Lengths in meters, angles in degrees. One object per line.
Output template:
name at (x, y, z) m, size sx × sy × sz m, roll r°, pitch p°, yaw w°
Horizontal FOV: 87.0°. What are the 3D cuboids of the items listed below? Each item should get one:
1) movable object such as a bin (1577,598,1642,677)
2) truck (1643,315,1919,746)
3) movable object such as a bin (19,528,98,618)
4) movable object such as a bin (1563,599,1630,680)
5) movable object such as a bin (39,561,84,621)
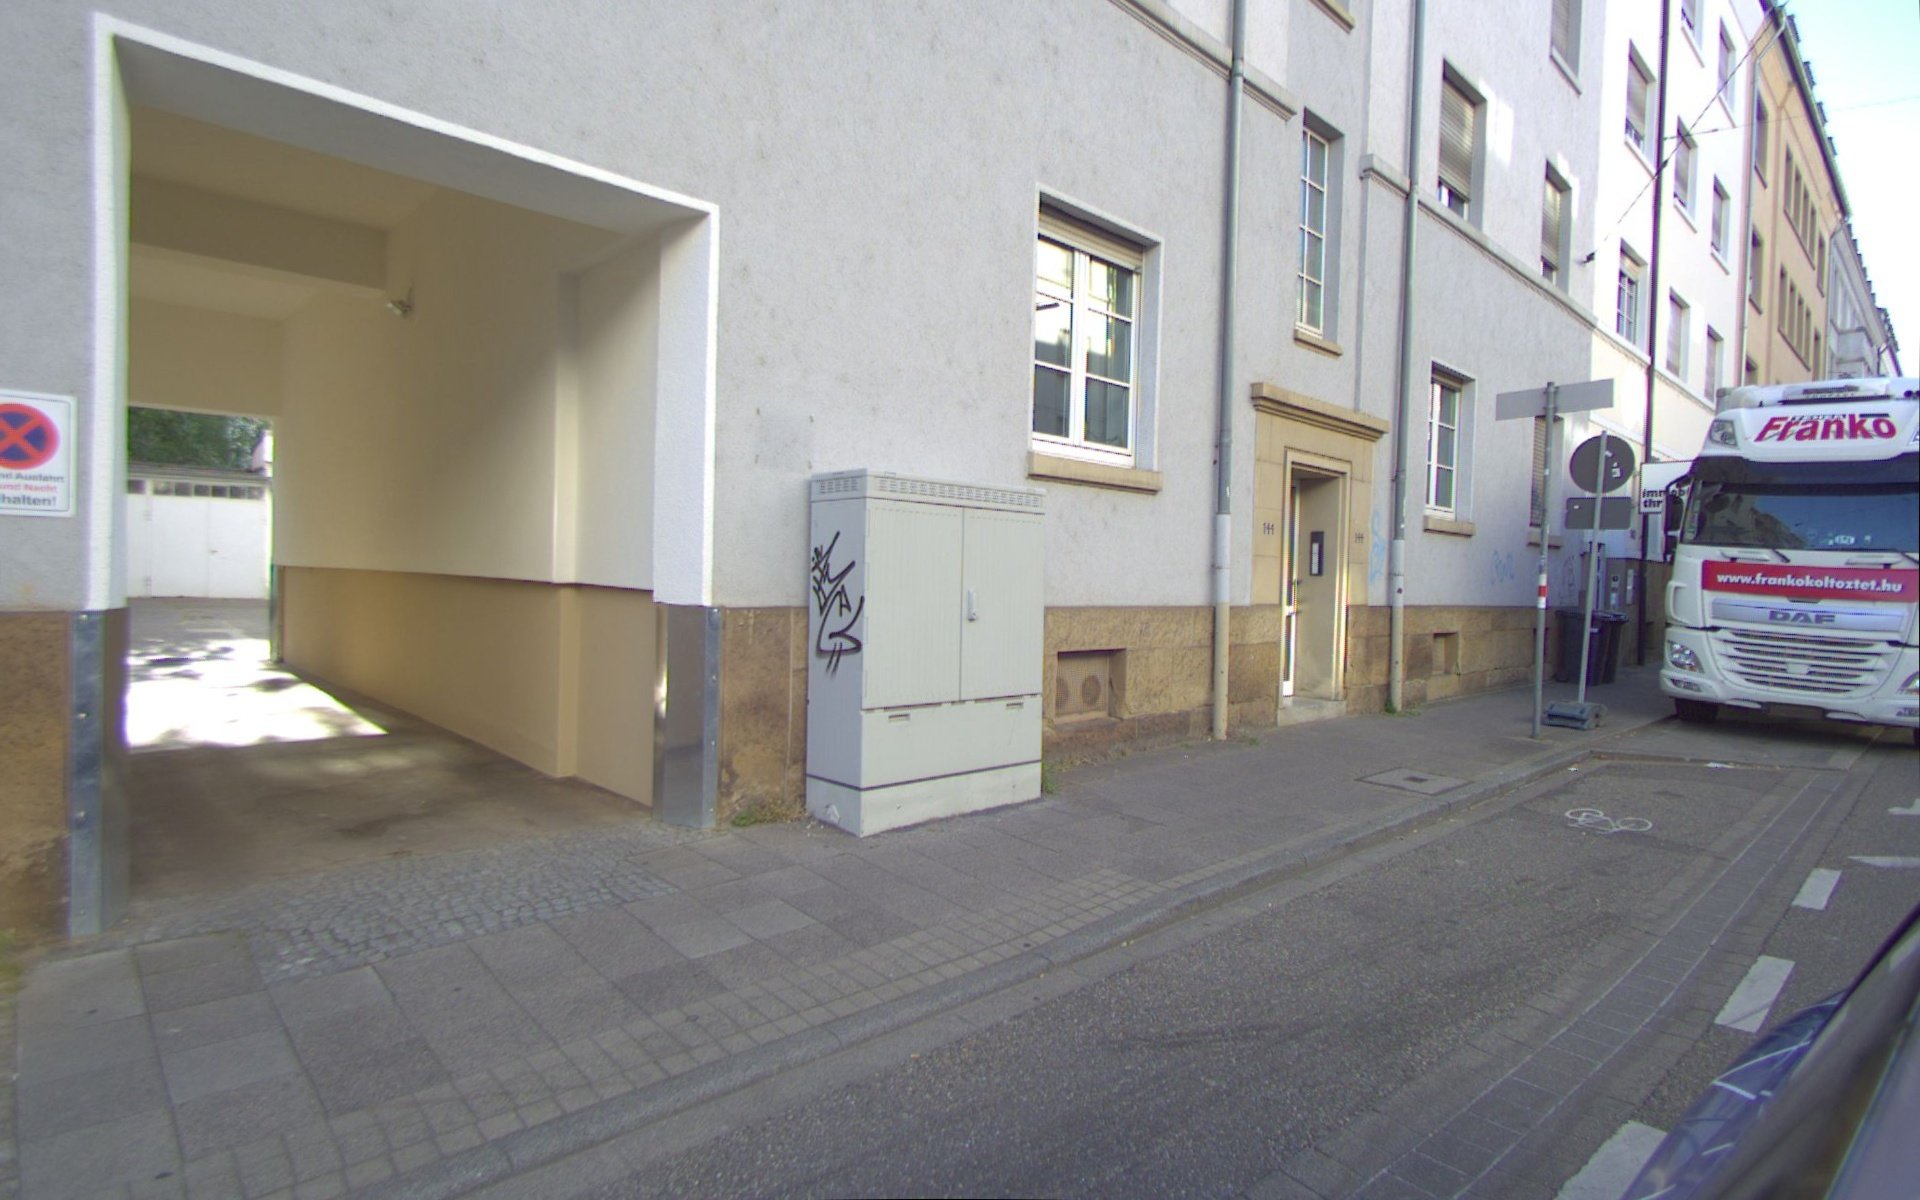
movable object such as a bin at (9.646, 0.542, 15.035) m, size 0.560 × 1.107 × 0.665 m, roll 0°, pitch 2°, yaw -43°
truck at (12.571, -0.680, 13.877) m, size 11.621 × 3.975 × 2.778 m, roll 0°, pitch 2°, yaw -44°
movable object such as a bin at (-15.158, -0.456, 17.012) m, size 0.946 × 1.426 × 1.597 m, roll 0°, pitch 2°, yaw -43°
movable object such as a bin at (9.167, 0.550, 14.584) m, size 0.560 × 1.107 × 0.665 m, roll 0°, pitch 2°, yaw -43°
movable object such as a bin at (-14.381, -0.149, 16.194) m, size 0.518 × 0.922 × 0.580 m, roll 0°, pitch 2°, yaw -43°
